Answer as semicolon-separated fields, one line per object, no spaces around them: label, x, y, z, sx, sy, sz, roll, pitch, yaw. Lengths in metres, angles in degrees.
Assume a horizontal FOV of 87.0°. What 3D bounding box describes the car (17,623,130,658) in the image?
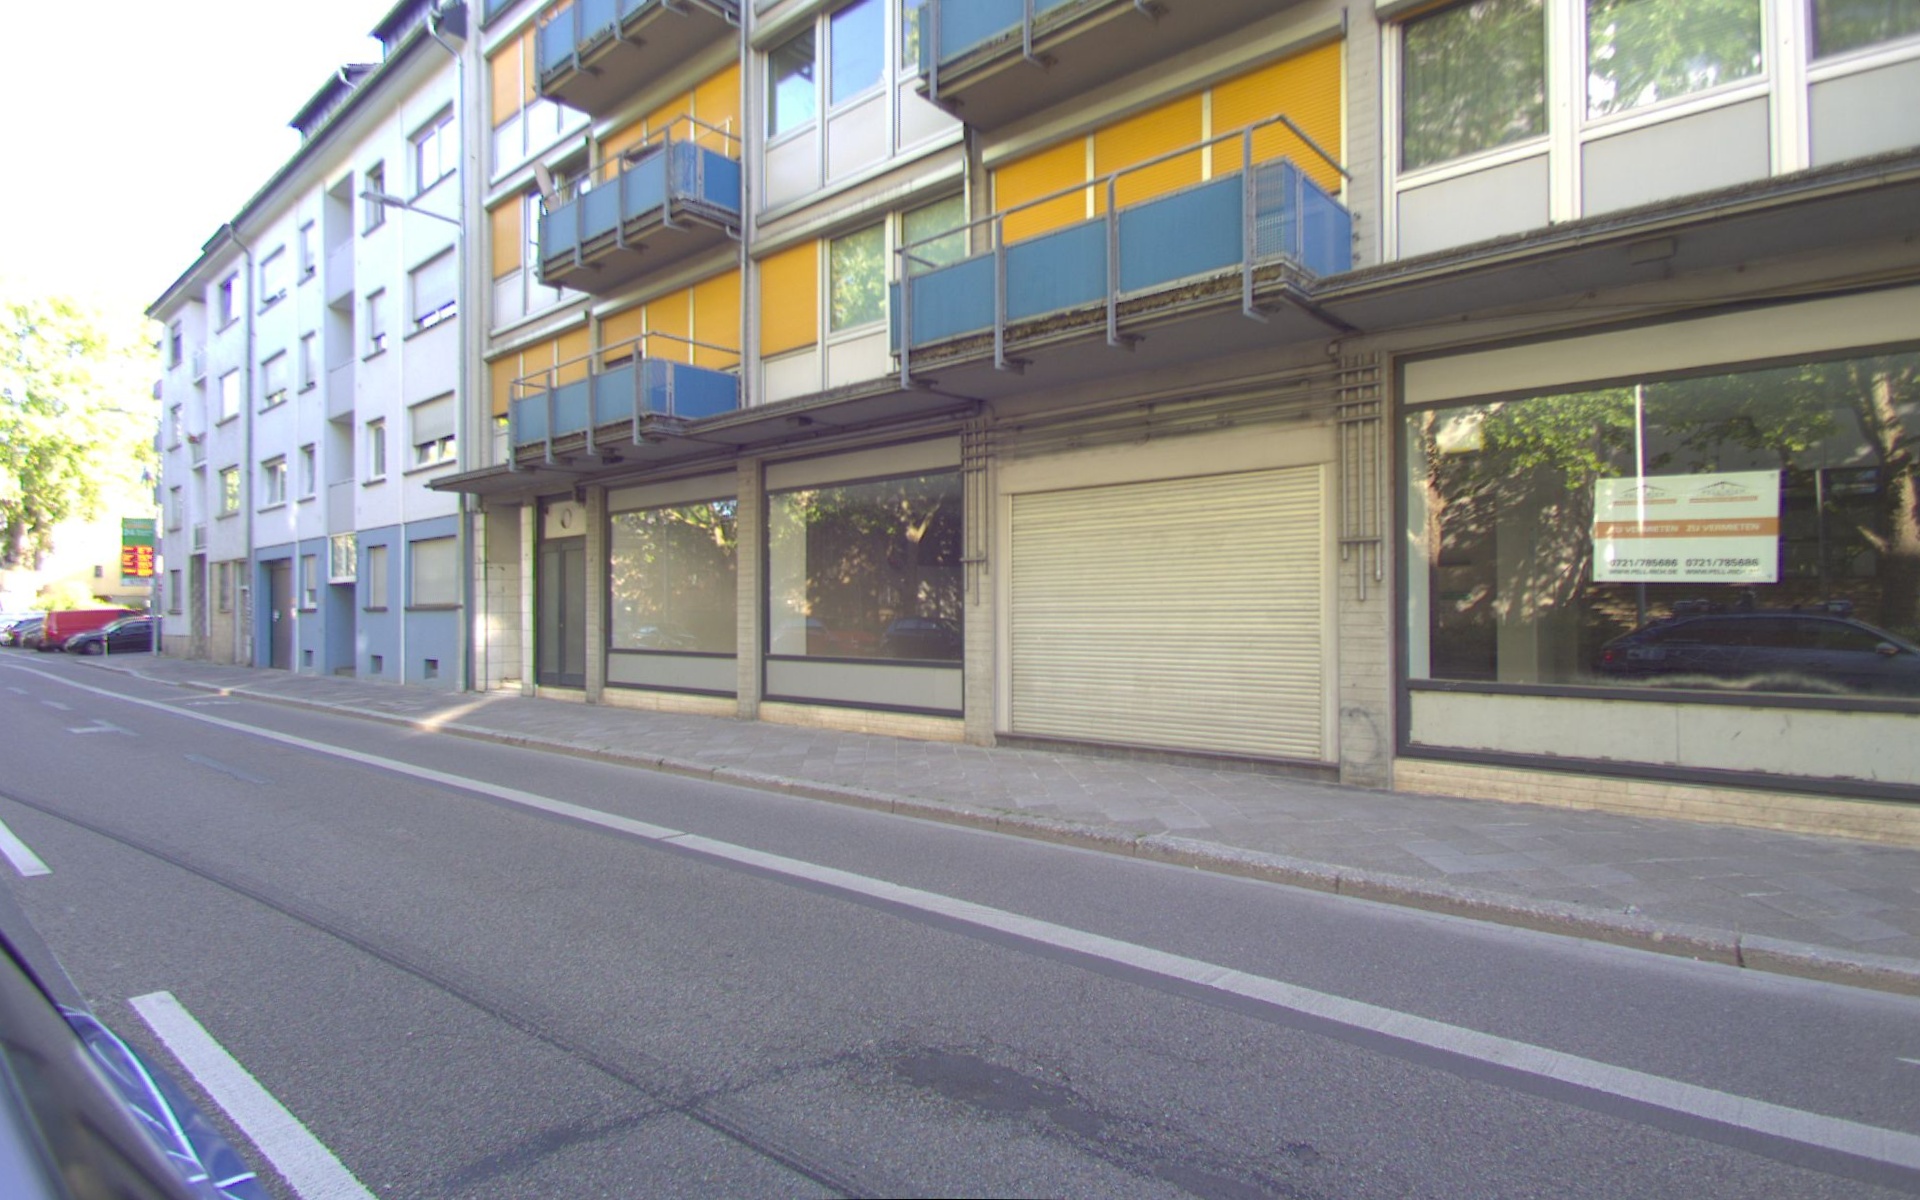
car;-42.915;1.907;49.037;1.761;1.514;3.944;-1;0;42

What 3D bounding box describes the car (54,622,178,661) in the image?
car;-36.633;1.766;44.011;1.761;1.468;3.944;-1;0;42

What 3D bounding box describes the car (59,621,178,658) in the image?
car;-38.114;1.762;45.898;1.761;1.514;3.944;-1;0;42

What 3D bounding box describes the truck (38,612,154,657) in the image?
truck;-40.505;1.574;47.489;1.761;1.951;3.944;-1;0;42
